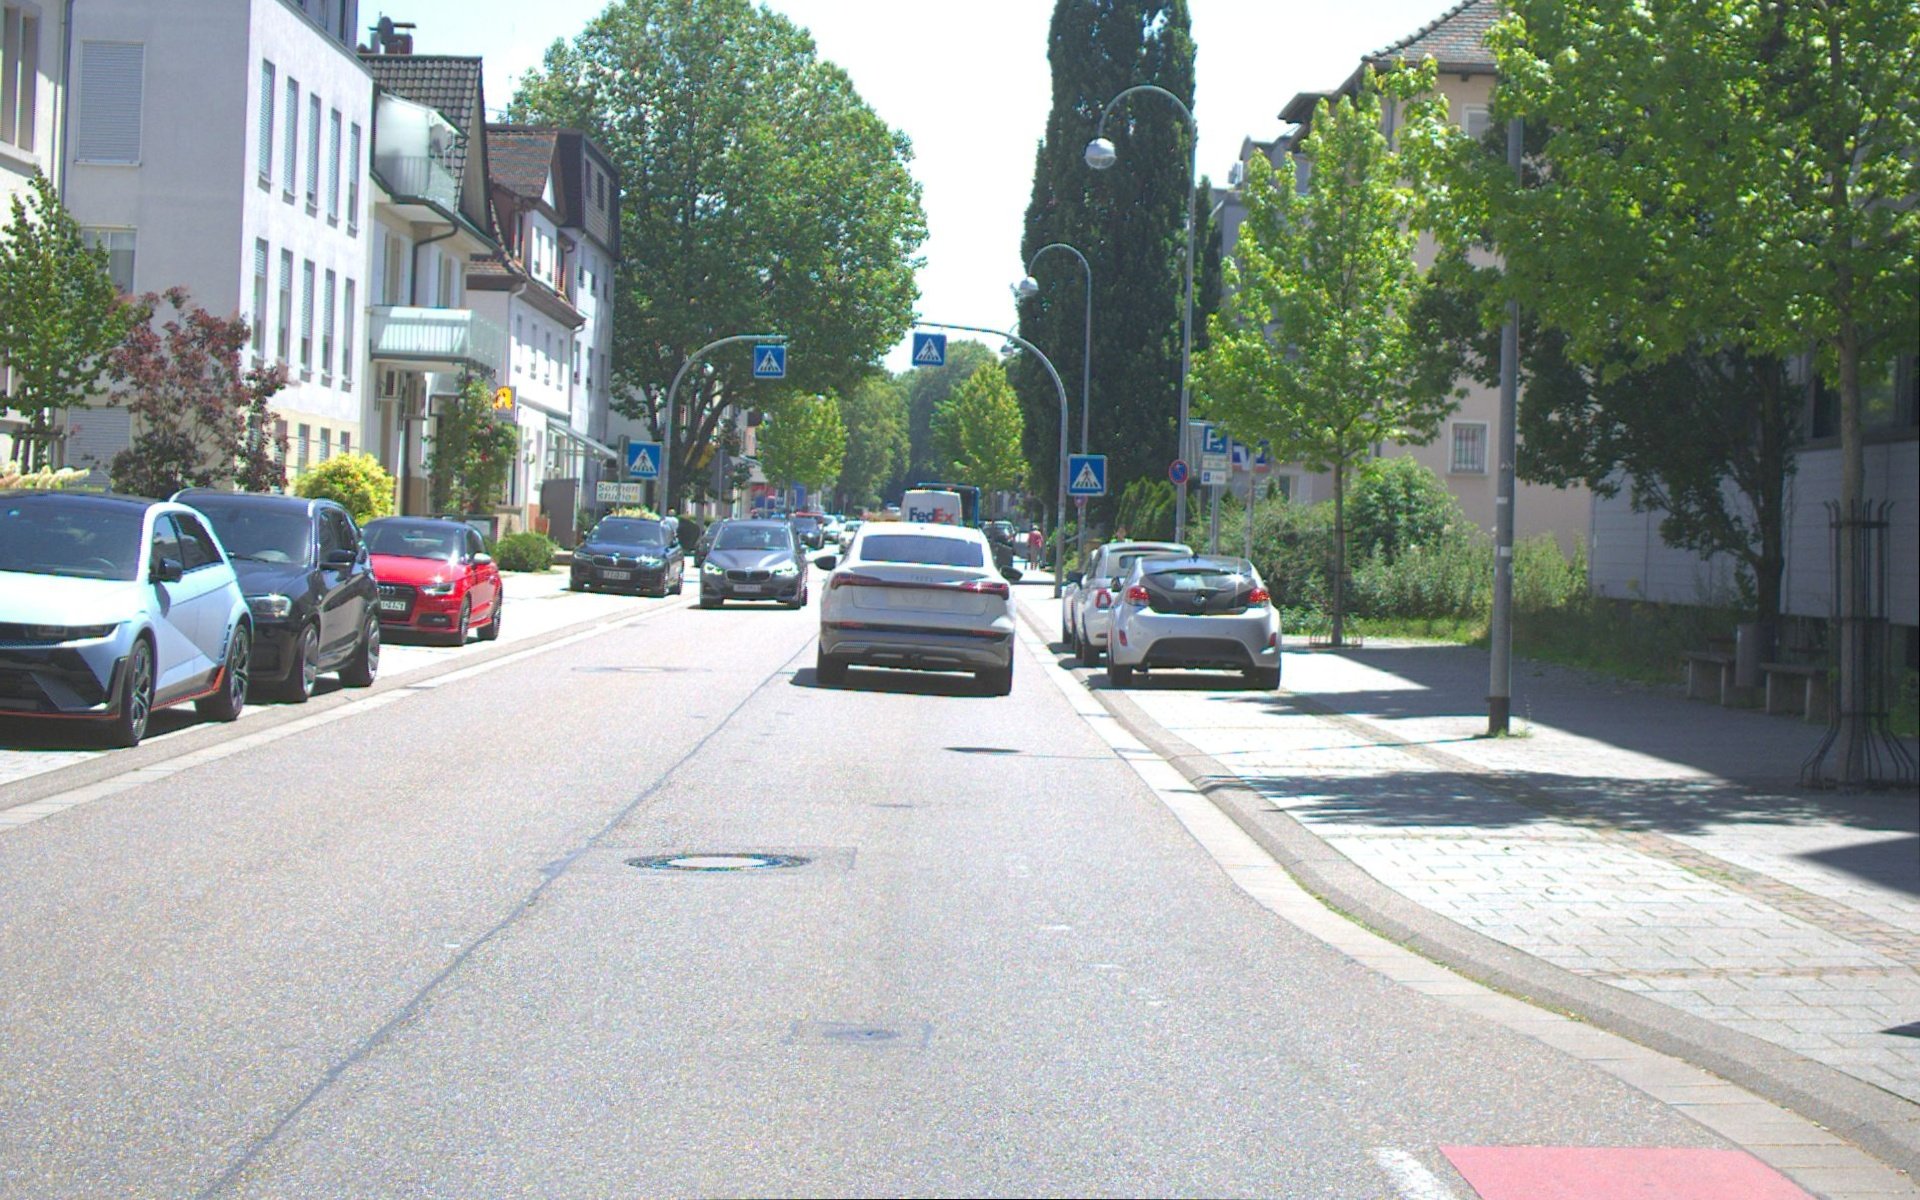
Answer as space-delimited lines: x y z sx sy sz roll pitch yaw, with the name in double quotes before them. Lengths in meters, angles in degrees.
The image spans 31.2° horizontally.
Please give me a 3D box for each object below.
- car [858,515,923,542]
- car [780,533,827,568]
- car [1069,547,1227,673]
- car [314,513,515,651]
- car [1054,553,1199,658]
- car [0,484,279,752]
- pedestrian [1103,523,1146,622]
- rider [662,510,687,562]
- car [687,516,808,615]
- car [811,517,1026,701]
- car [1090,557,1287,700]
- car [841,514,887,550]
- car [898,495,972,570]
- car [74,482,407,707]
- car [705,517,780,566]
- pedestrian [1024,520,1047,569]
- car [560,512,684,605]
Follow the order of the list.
"car" -4.559 -4.690 226.061 3.988 1.645 1.999 2 1 7
"car" -7.273 -2.303 160.072 1.993 1.515 4.000 2 1 -1
"car" 2.323 0.087 43.294 1.658 1.483 4.346 1 1 -1
"car" -6.375 -0.231 40.543 1.649 1.414 3.906 5 1 0
"car" 2.283 0.042 48.047 1.726 1.378 4.402 1 1 -1
"car" -6.147 0.037 23.476 1.926 1.567 4.659 5 1 0
"pedestrian" 2.963 -0.495 62.107 0.637 1.752 0.617 2 1 -5
"rider" -8.641 -1.947 104.038 0.661 1.548 0.661 2 1 0
"car" -3.820 -0.639 62.405 1.974 1.665 4.472 2 1 -1
"car" -0.390 0.054 35.021 1.936 1.609 4.472 4 1 0
"car" 2.421 0.263 37.360 1.862 1.368 4.000 3 1 1
"car" -4.247 -3.020 152.999 1.978 1.515 4.000 2 1 -1
"car" -0.785 -2.044 104.207 2.069 2.189 5.138 1 1 -2
"car" -6.009 -0.076 29.241 1.725 1.614 4.571 5 1 0
"car" -6.430 -1.726 101.807 1.993 1.345 4.000 2 1 -1
"pedestrian" 2.670 -1.963 122.026 0.693 1.730 0.668 2 0 -5
"car" -6.631 -0.824 67.823 1.926 1.714 4.472 2 1 0
